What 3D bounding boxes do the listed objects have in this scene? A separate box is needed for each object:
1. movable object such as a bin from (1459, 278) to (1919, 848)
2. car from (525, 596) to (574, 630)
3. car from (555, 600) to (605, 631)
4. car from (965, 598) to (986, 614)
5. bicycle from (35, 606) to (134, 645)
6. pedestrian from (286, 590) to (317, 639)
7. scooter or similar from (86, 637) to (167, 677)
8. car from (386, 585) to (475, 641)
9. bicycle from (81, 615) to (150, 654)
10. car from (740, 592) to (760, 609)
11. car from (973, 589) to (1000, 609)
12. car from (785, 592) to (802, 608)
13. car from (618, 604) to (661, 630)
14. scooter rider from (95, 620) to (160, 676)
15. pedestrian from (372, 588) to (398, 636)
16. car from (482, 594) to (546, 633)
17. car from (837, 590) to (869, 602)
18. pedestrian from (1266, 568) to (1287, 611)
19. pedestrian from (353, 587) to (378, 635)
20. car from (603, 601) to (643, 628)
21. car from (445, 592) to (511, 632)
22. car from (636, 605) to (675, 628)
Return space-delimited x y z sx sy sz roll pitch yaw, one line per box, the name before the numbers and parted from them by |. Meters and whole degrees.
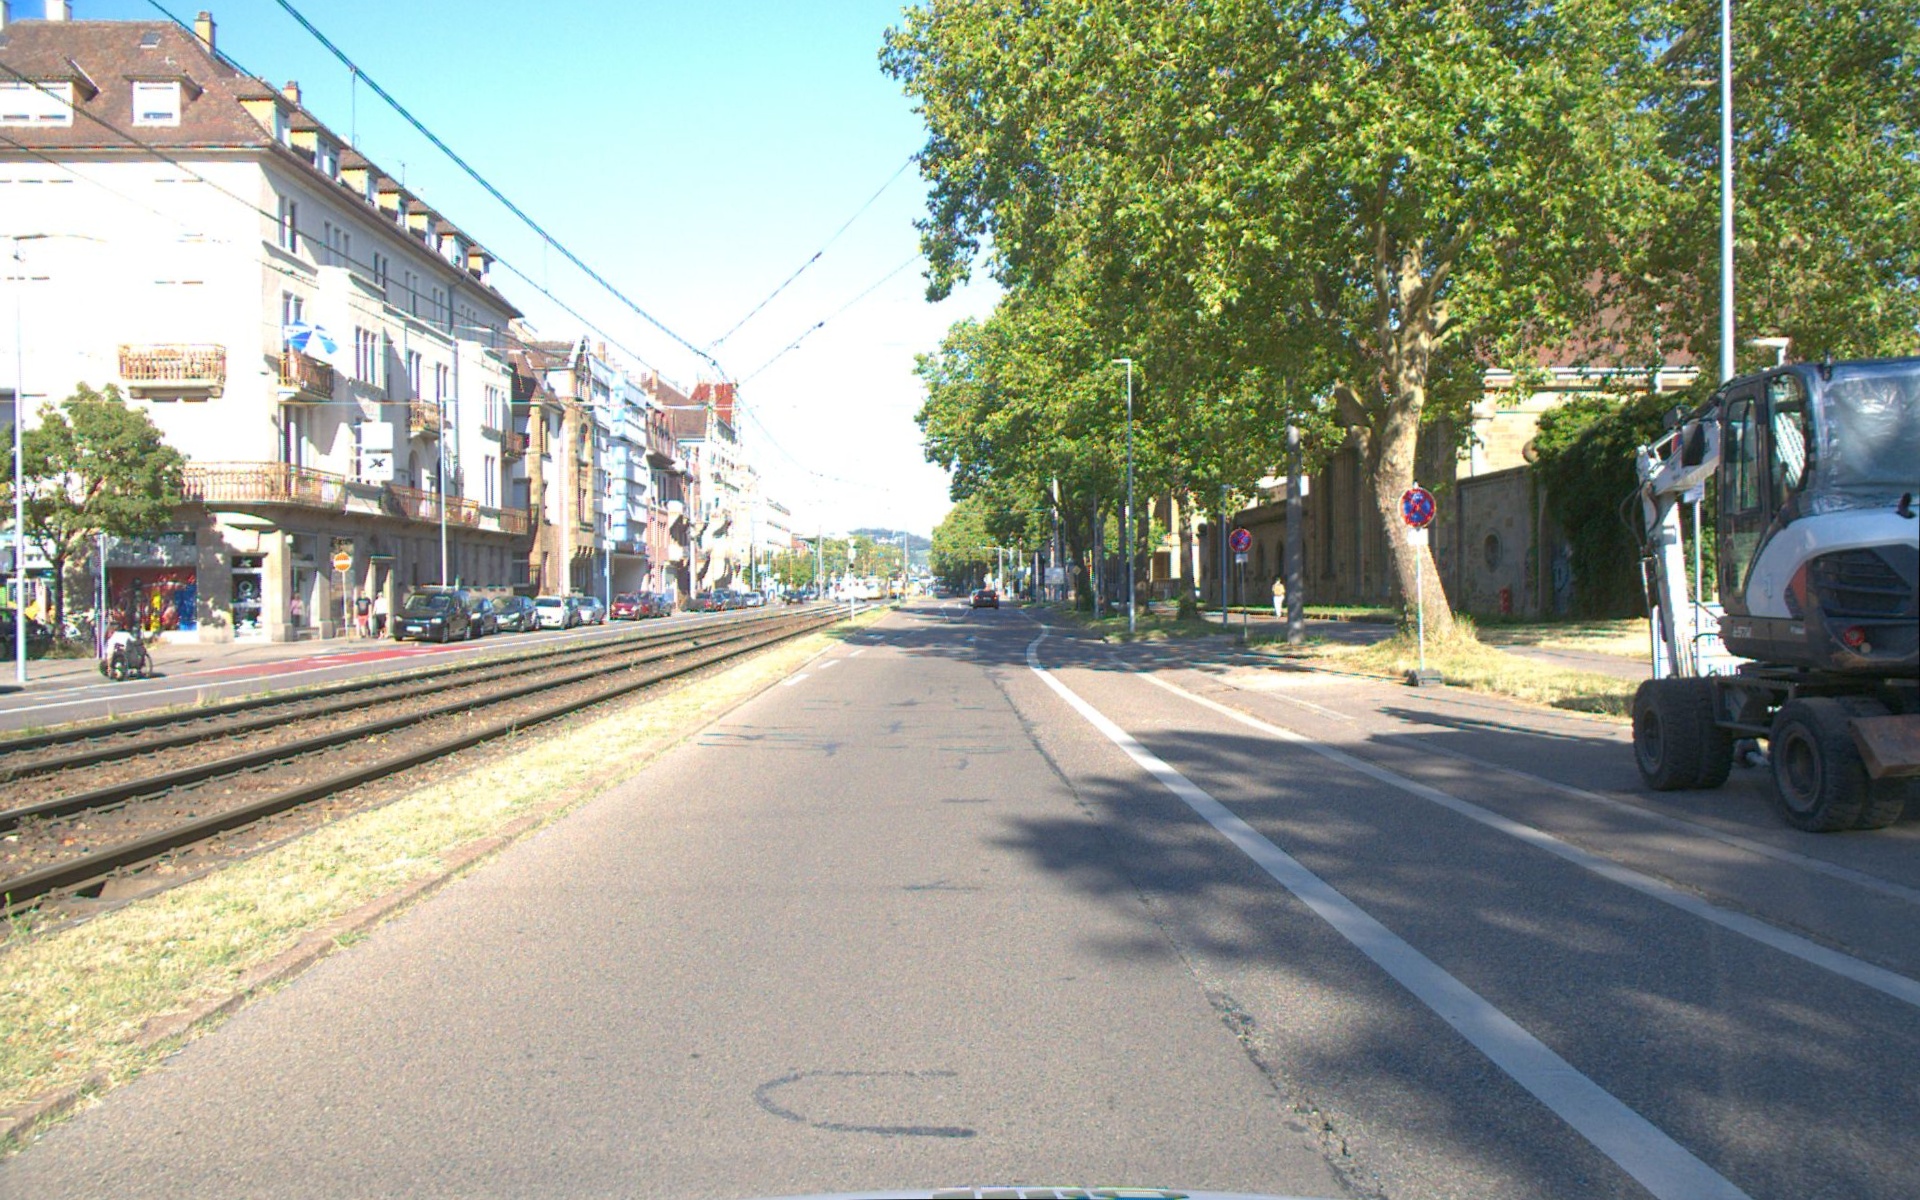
movable object such as a bin | 6.433 -0.332 12.963 2.688 3.200 7.219 -4 1 0
car | -18.688 0.598 75.377 1.603 1.494 3.978 0 -1 -6
car | -19.335 0.777 84.329 1.602 1.494 4.159 1 1 -1
car | 1.475 0.557 155.855 1.796 1.415 4.158 0 0 -2
bicycle | -27.803 0.808 52.538 2.820 1.181 0.753 -1 0 5
pedestrian | -23.034 0.505 57.874 0.626 1.690 0.954 1 -1 1
scooter or similar | -17.332 1.181 34.391 1.535 0.784 0.806 -1 0 30
car | -18.723 0.425 58.633 1.825 1.817 4.400 1 1 -2
bicycle | -24.291 0.978 47.628 0.670 1.033 2.413 1 1 1
car | -20.791 0.011 163.507 1.759 1.536 3.996 3 0 -5
car | 1.929 -0.055 120.549 1.796 1.415 4.158 0 0 -2
car | -18.306 -0.023 181.523 1.602 1.629 4.157 -2 0 -3
car | -19.787 1.032 102.146 1.796 1.585 4.353 1 0 0
scooter rider | -17.299 0.997 34.372 0.957 1.108 0.806 -1 0 30
pedestrian | -20.912 0.430 60.155 0.577 1.726 0.857 1 -1 1
car | -18.905 0.551 70.233 1.602 1.494 4.158 2 0 -2
car | -13.662 -0.534 211.385 3.928 1.537 1.790 1 -1 41
pedestrian | 12.928 -0.426 67.517 0.596 1.711 0.636 -5 0 -3
pedestrian | -21.621 0.416 60.157 0.577 1.726 0.857 1 -1 1
car | -19.691 0.841 96.777 1.798 1.415 4.031 2 0 -6
car | -18.773 0.439 64.530 1.595 1.415 3.507 3 0 -2
car | -19.759 1.032 107.618 1.796 1.415 4.680 0 0 -2
